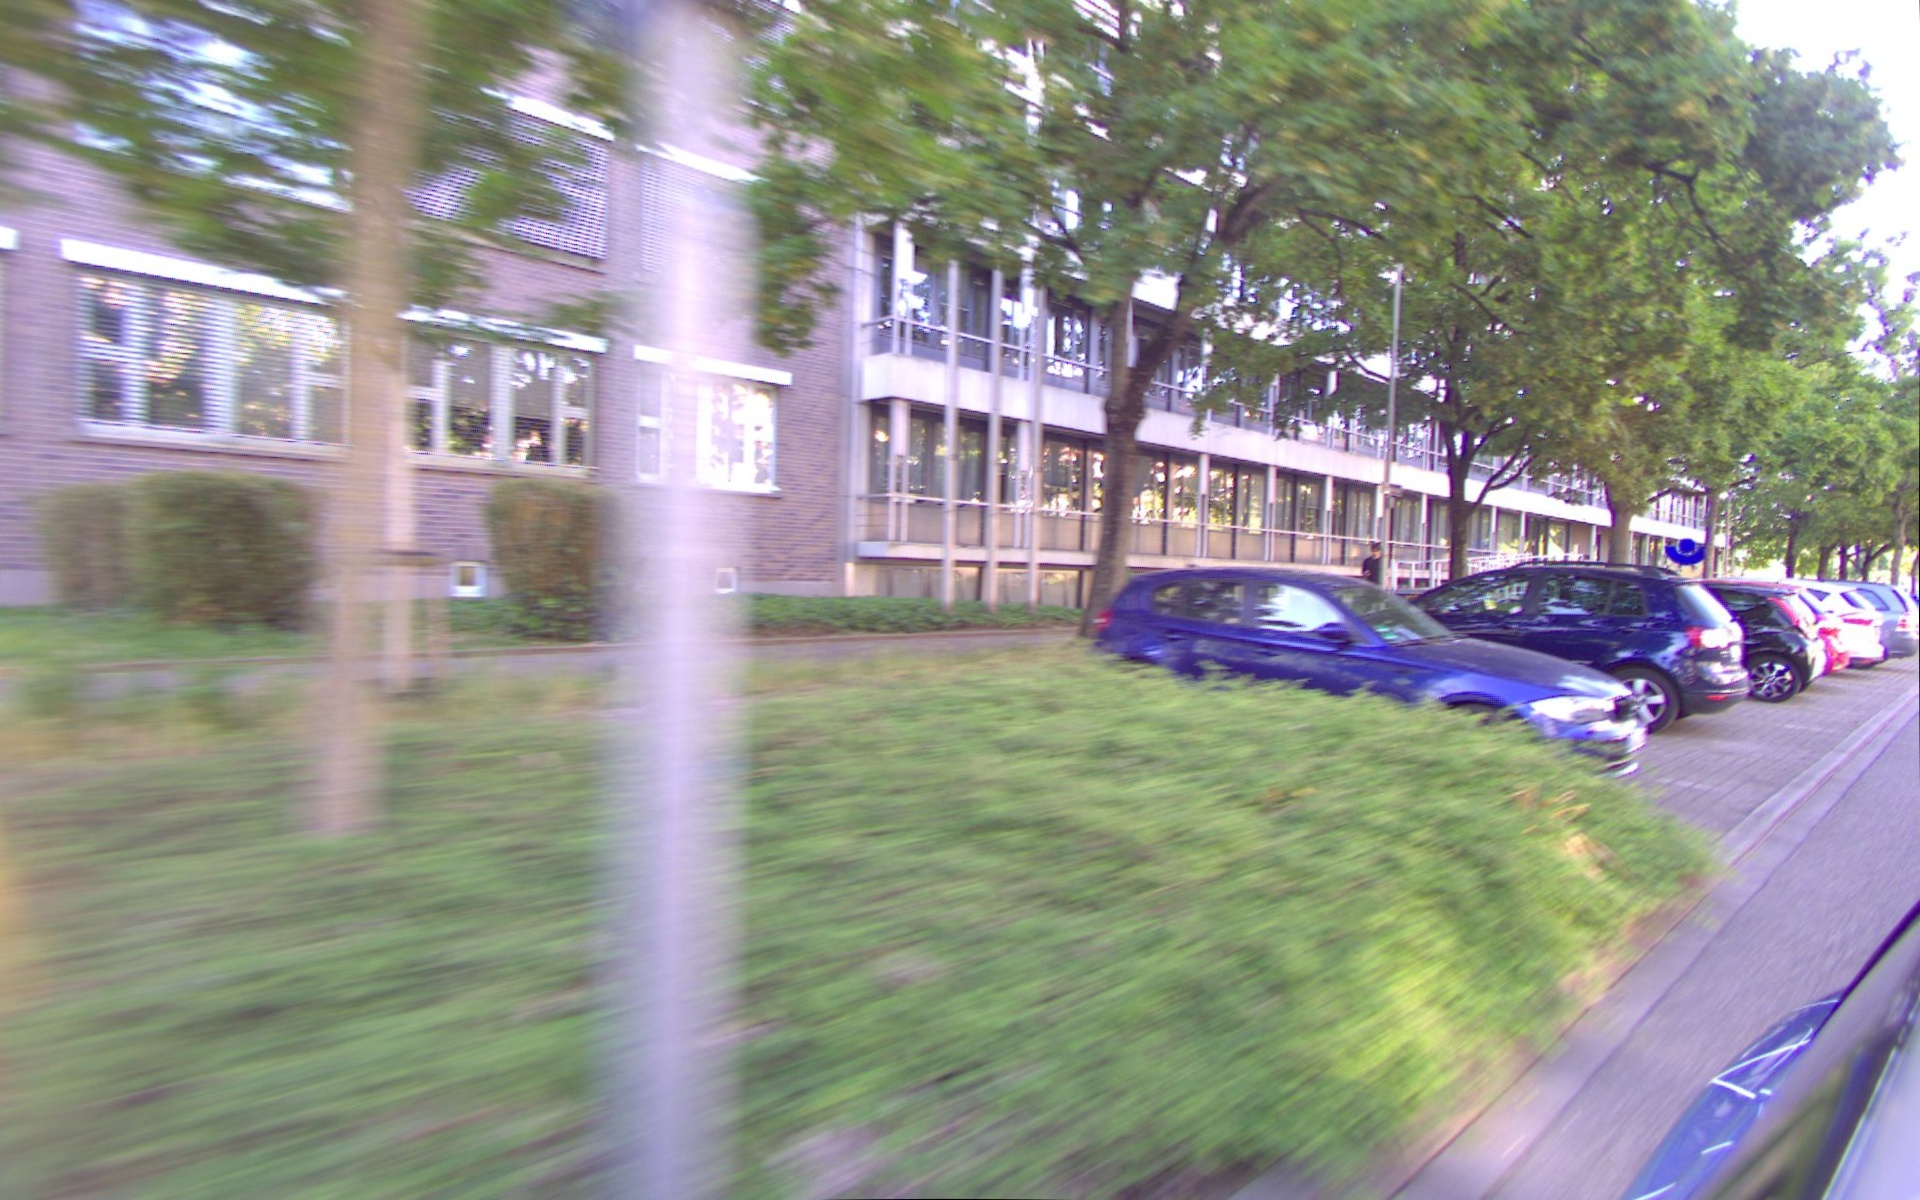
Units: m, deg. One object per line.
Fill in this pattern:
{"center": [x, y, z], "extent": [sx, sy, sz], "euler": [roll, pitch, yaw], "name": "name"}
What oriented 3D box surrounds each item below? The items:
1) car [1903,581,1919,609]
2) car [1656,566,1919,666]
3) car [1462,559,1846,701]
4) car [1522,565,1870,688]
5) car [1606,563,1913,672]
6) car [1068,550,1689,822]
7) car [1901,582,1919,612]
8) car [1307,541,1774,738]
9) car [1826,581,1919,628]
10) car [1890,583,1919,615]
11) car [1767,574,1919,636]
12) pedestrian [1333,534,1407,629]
{"center": [54.110, -0.145, 55.051], "extent": [1.775, 1.497, 3.991], "euler": [0, 5, -45], "name": "car"}
{"center": [16.382, 0.237, 19.930], "extent": [4.126, 1.687, 1.878], "euler": [4, 3, 44], "name": "car"}
{"center": [9.494, 0.291, 14.086], "extent": [4.127, 1.478, 1.634], "euler": [6, 5, 44], "name": "car"}
{"center": [11.279, 0.303, 15.689], "extent": [4.126, 1.536, 1.808], "euler": [4, 3, 44], "name": "car"}
{"center": [14.094, 0.217, 18.023], "extent": [1.684, 1.603, 3.996], "euler": [0, 4, -41], "name": "car"}
{"center": [2.991, 0.421, 7.892], "extent": [4.119, 1.387, 1.628], "euler": [7, 5, 44], "name": "car"}
{"center": [52.059, -0.049, 52.988], "extent": [1.775, 1.497, 3.991], "euler": [0, 5, -45], "name": "car"}
{"center": [6.198, 0.255, 11.154], "extent": [4.127, 1.608, 1.634], "euler": [6, 6, 44], "name": "car"}
{"center": [32.573, 0.188, 34.927], "extent": [3.909, 1.398, 1.562], "euler": [7, 6, 44], "name": "car"}
{"center": [48.361, 0.031, 49.598], "extent": [1.775, 1.497, 3.991], "euler": [0, 4, -45], "name": "car"}
{"center": [26.348, 0.131, 29.556], "extent": [1.683, 1.512, 3.999], "euler": [0, 5, -39], "name": "car"}
{"center": [8.207, -0.374, 20.257], "extent": [1.002, 1.821, 1.036], "euler": [0, 1, -43], "name": "pedestrian"}
